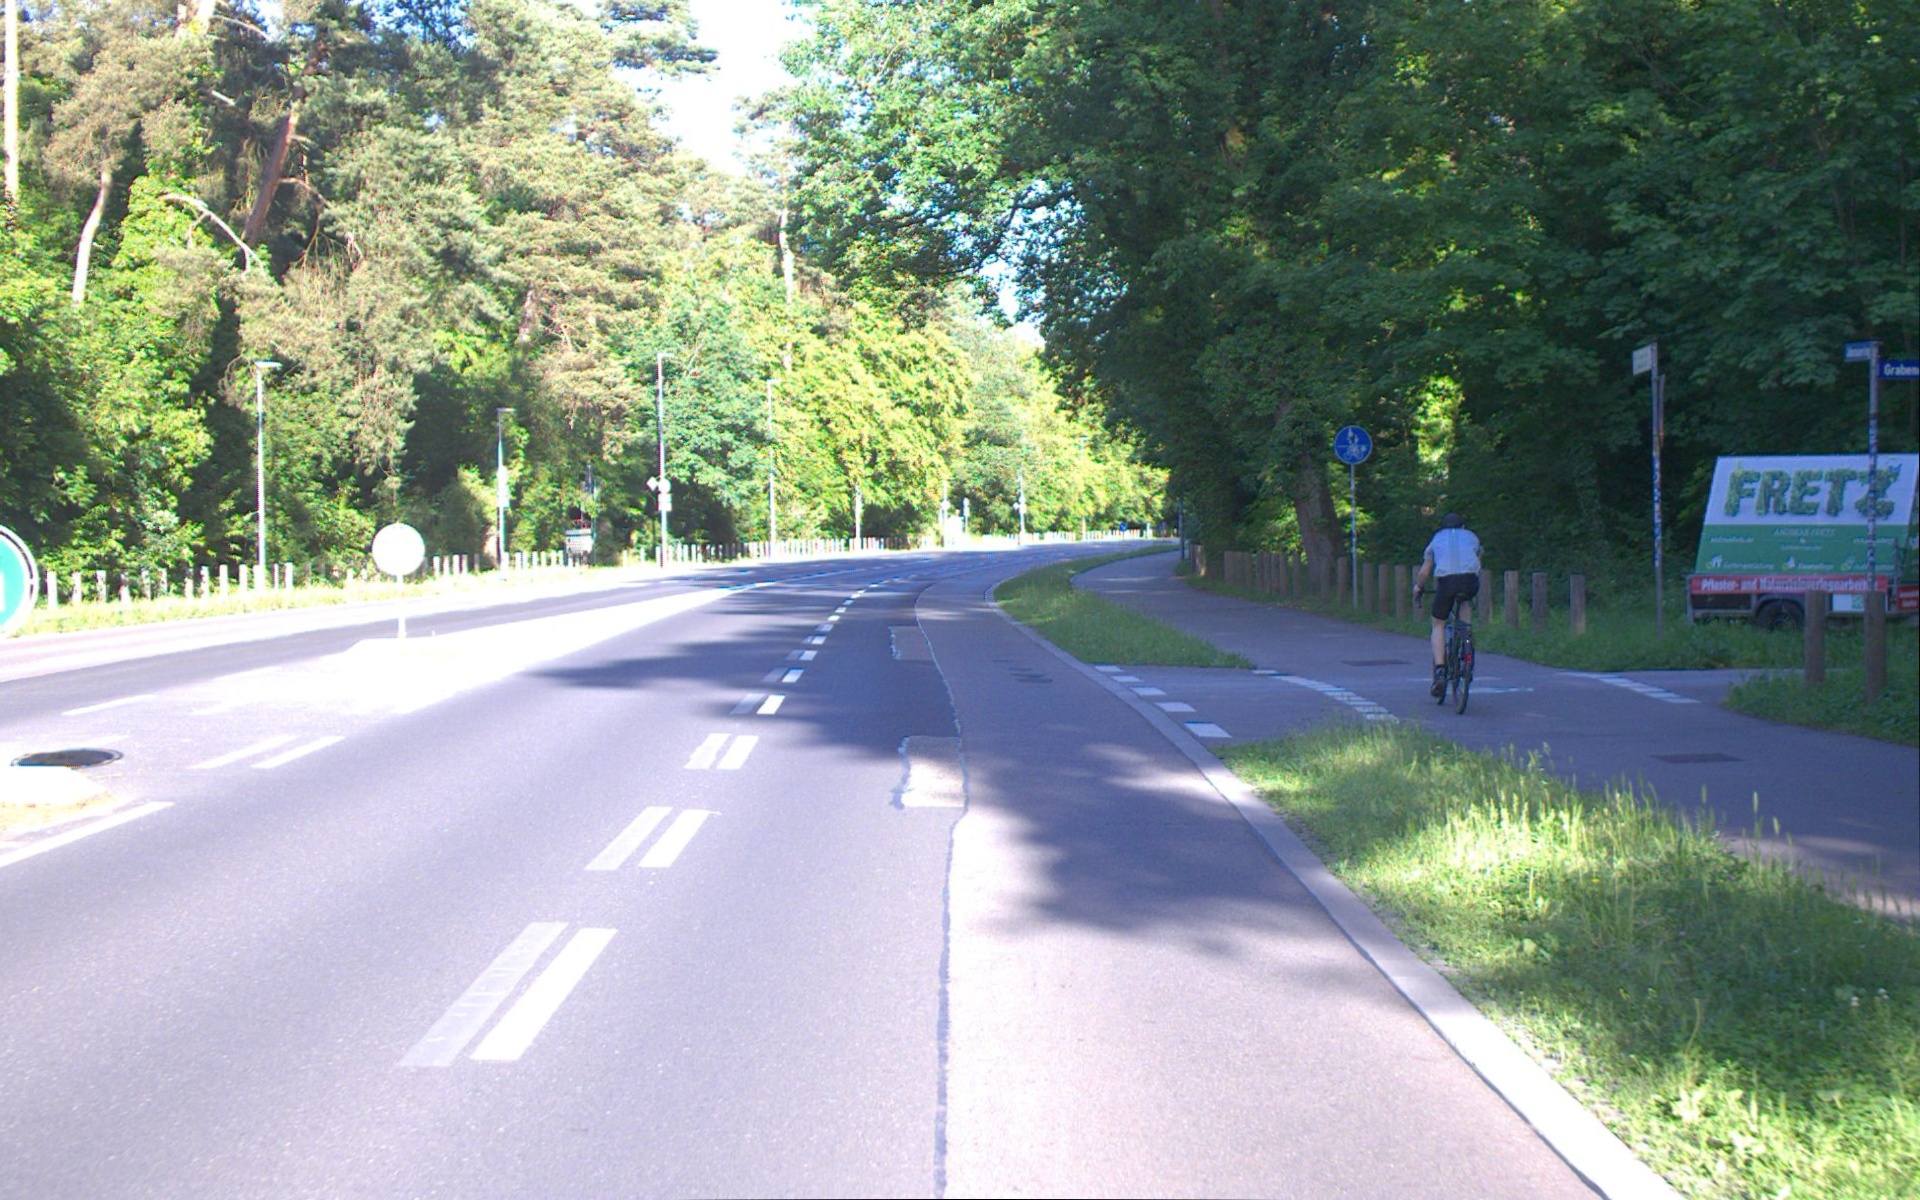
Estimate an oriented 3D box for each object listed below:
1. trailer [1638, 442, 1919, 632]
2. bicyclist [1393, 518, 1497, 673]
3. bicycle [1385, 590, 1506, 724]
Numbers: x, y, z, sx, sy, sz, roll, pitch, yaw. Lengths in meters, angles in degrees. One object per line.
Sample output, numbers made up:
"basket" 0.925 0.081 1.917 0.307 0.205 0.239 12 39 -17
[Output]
"trailer" 9.880 -0.692 38.000 4.223 2.014 1.995 0 1 40
"bicyclist" 4.089 -0.048 29.024 0.712 1.284 1.104 0 1 0
"bicycle" 4.086 0.462 29.061 0.712 1.052 2.053 0 1 0
